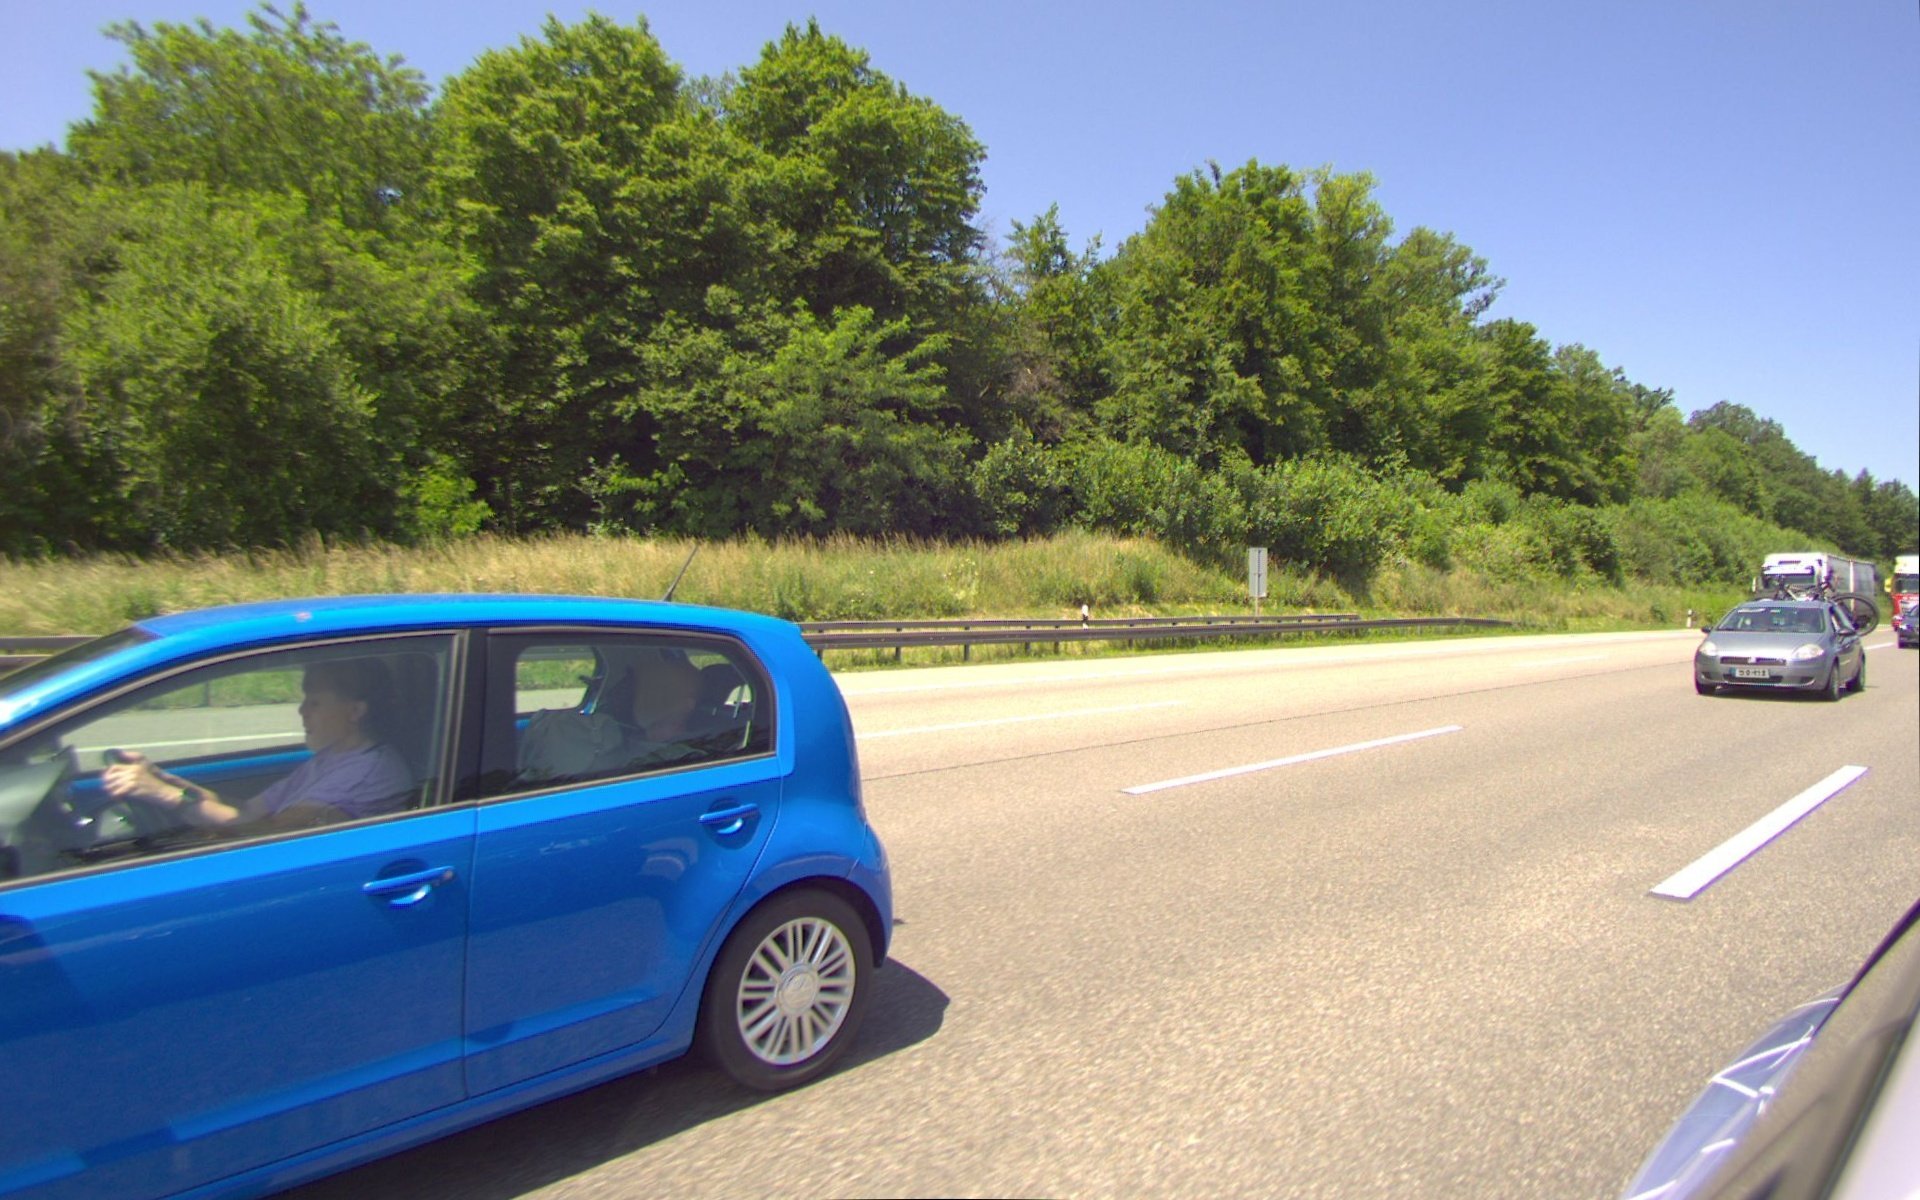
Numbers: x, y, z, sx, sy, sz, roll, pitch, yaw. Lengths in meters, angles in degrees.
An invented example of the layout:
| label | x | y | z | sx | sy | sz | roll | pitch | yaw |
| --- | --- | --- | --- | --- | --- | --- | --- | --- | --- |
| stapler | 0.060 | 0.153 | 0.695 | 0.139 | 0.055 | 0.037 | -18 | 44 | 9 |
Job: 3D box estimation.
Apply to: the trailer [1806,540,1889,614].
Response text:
| label | x | y | z | sx | sy | sz | roll | pitch | yaw |
| --- | --- | --- | --- | --- | --- | --- | --- | --- | --- |
| trailer | 52.937 | -1.269 | 60.299 | 8.234 | 4.122 | 2.583 | 1 | -1 | -41 |

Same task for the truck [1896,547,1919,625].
| label | x | y | z | sx | sy | sz | roll | pitch | yaw |
| --- | --- | --- | --- | --- | --- | --- | --- | --- | --- |
| truck | 53.356 | -0.658 | 54.901 | 7.406 | 4.032 | 3.016 | 2 | -1 | -41 |

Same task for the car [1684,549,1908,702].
| label | x | y | z | sx | sy | sz | roll | pitch | yaw |
| --- | --- | --- | --- | --- | --- | --- | --- | --- | --- |
| car | 13.384 | 0.339 | 16.099 | 4.700 | 2.079 | 1.965 | 0 | 0 | -41 |

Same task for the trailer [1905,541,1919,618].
| label | x | y | z | sx | sy | sz | roll | pitch | yaw |
| --- | --- | --- | --- | --- | --- | --- | --- | --- | --- |
| trailer | 58.429 | -0.963 | 59.272 | 14.585 | 4.195 | 2.925 | 1 | 0 | -41 |

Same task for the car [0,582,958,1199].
| label | x | y | z | sx | sy | sz | roll | pitch | yaw |
| --- | --- | --- | --- | --- | --- | --- | --- | --- | --- |
| car | -2.059 | 0.673 | 2.720 | 3.929 | 1.429 | 1.740 | 0 | 1 | -41 |

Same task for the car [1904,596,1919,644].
| label | x | y | z | sx | sy | sz | roll | pitch | yaw |
| --- | --- | --- | --- | --- | --- | --- | --- | --- | --- |
| car | 31.322 | 0.623 | 31.600 | 5.129 | 1.471 | 1.971 | 1 | -1 | -39 |

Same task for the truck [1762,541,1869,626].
| label | x | y | z | sx | sy | sz | roll | pitch | yaw |
| --- | --- | --- | --- | --- | --- | --- | --- | --- | --- |
| truck | 46.425 | -0.768 | 54.739 | 10.775 | 4.214 | 2.726 | 1 | -1 | -41 |
